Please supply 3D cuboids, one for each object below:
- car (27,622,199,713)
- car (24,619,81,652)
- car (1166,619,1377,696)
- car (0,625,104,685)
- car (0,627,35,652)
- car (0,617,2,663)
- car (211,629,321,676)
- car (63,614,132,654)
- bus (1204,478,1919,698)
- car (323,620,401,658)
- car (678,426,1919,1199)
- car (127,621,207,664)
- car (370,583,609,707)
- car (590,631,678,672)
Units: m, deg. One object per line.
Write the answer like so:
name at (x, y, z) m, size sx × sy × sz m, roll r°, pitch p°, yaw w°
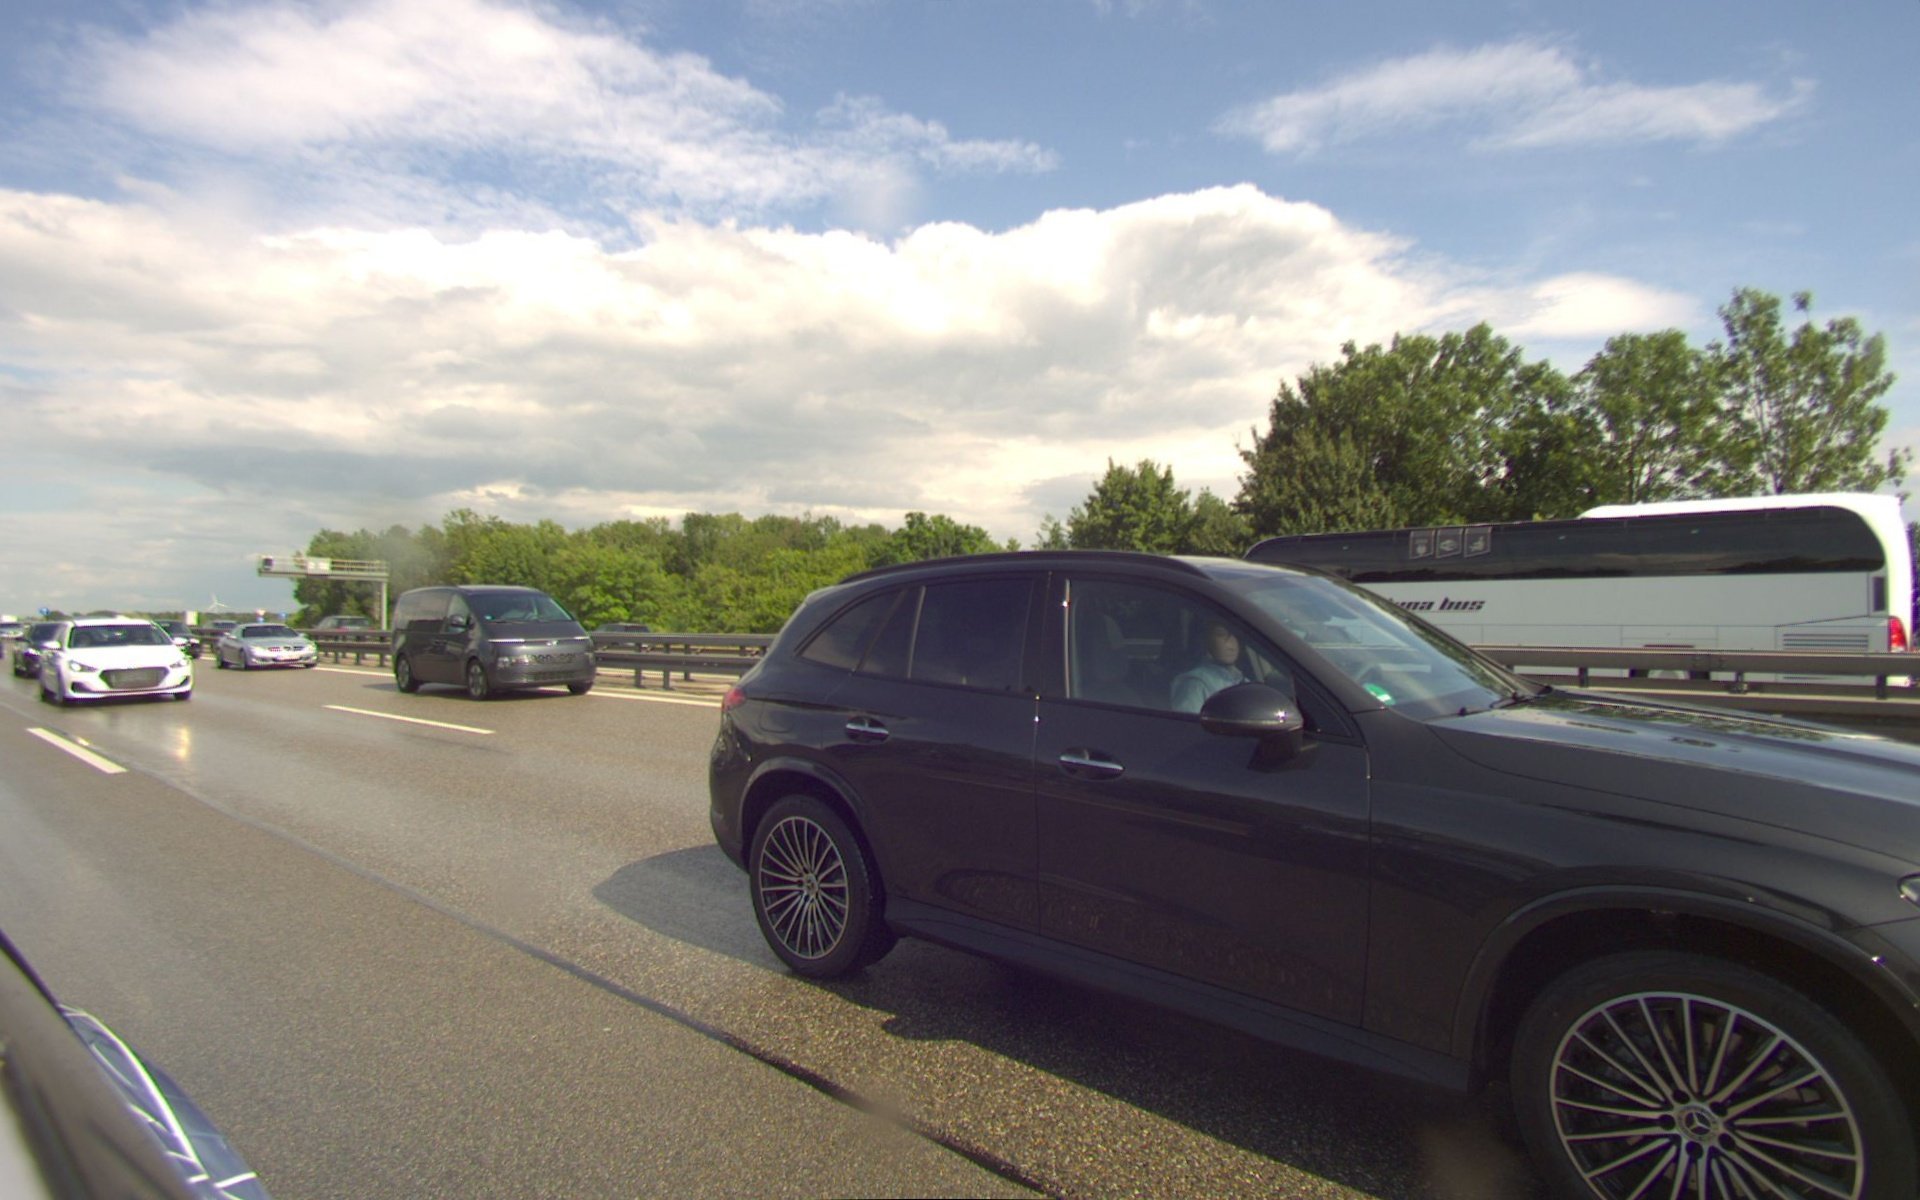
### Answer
car at (-15.039, 1.101, 17.901) m, size 4.239 × 1.408 × 1.785 m, roll -1°, pitch -2°, yaw 42°
car at (-50.686, 1.971, 56.512) m, size 3.997 × 1.763 × 1.876 m, roll -1°, pitch -1°, yaw 41°
car at (5.938, 1.048, 19.509) m, size 3.523 × 1.320 × 1.633 m, roll -1°, pitch -1°, yaw 44°
car at (-23.487, 1.368, 26.110) m, size 3.998 × 1.409 × 1.577 m, roll -1°, pitch -1°, yaw 41°
car at (-67.695, 2.801, 72.316) m, size 3.997 × 1.763 × 1.876 m, roll -1°, pitch -1°, yaw 41°
car at (-38.359, 1.557, 38.891) m, size 3.997 × 1.730 × 1.865 m, roll -1°, pitch -1°, yaw 41°
car at (-19.493, 1.431, 28.382) m, size 3.583 × 1.198 × 1.832 m, roll -1°, pitch -1°, yaw 43°
car at (-40.946, 1.593, 48.024) m, size 3.997 × 1.763 × 1.876 m, roll -1°, pitch -1°, yaw 41°
bus at (11.348, -0.076, 20.735) m, size 12.465 × 3.399 × 2.861 m, roll -1°, pitch -1°, yaw 42°
car at (-26.021, 1.678, 43.986) m, size 3.998 × 1.556 × 1.781 m, roll -1°, pitch -1°, yaw 41°
car at (1.091, 0.566, 3.617) m, size 4.625 × 1.692 × 1.856 m, roll -1°, pitch -1°, yaw 42°
car at (-28.445, 1.488, 36.255) m, size 3.999 × 1.431 × 1.597 m, roll -2°, pitch -1°, yaw 42°
car at (-8.599, 0.747, 18.260) m, size 5.233 × 1.932 × 1.973 m, roll -1°, pitch -1°, yaw 41°
car at (-13.731, 2.115, 42.536) m, size 3.999 × 1.604 × 1.714 m, roll -1°, pitch -1°, yaw 42°
